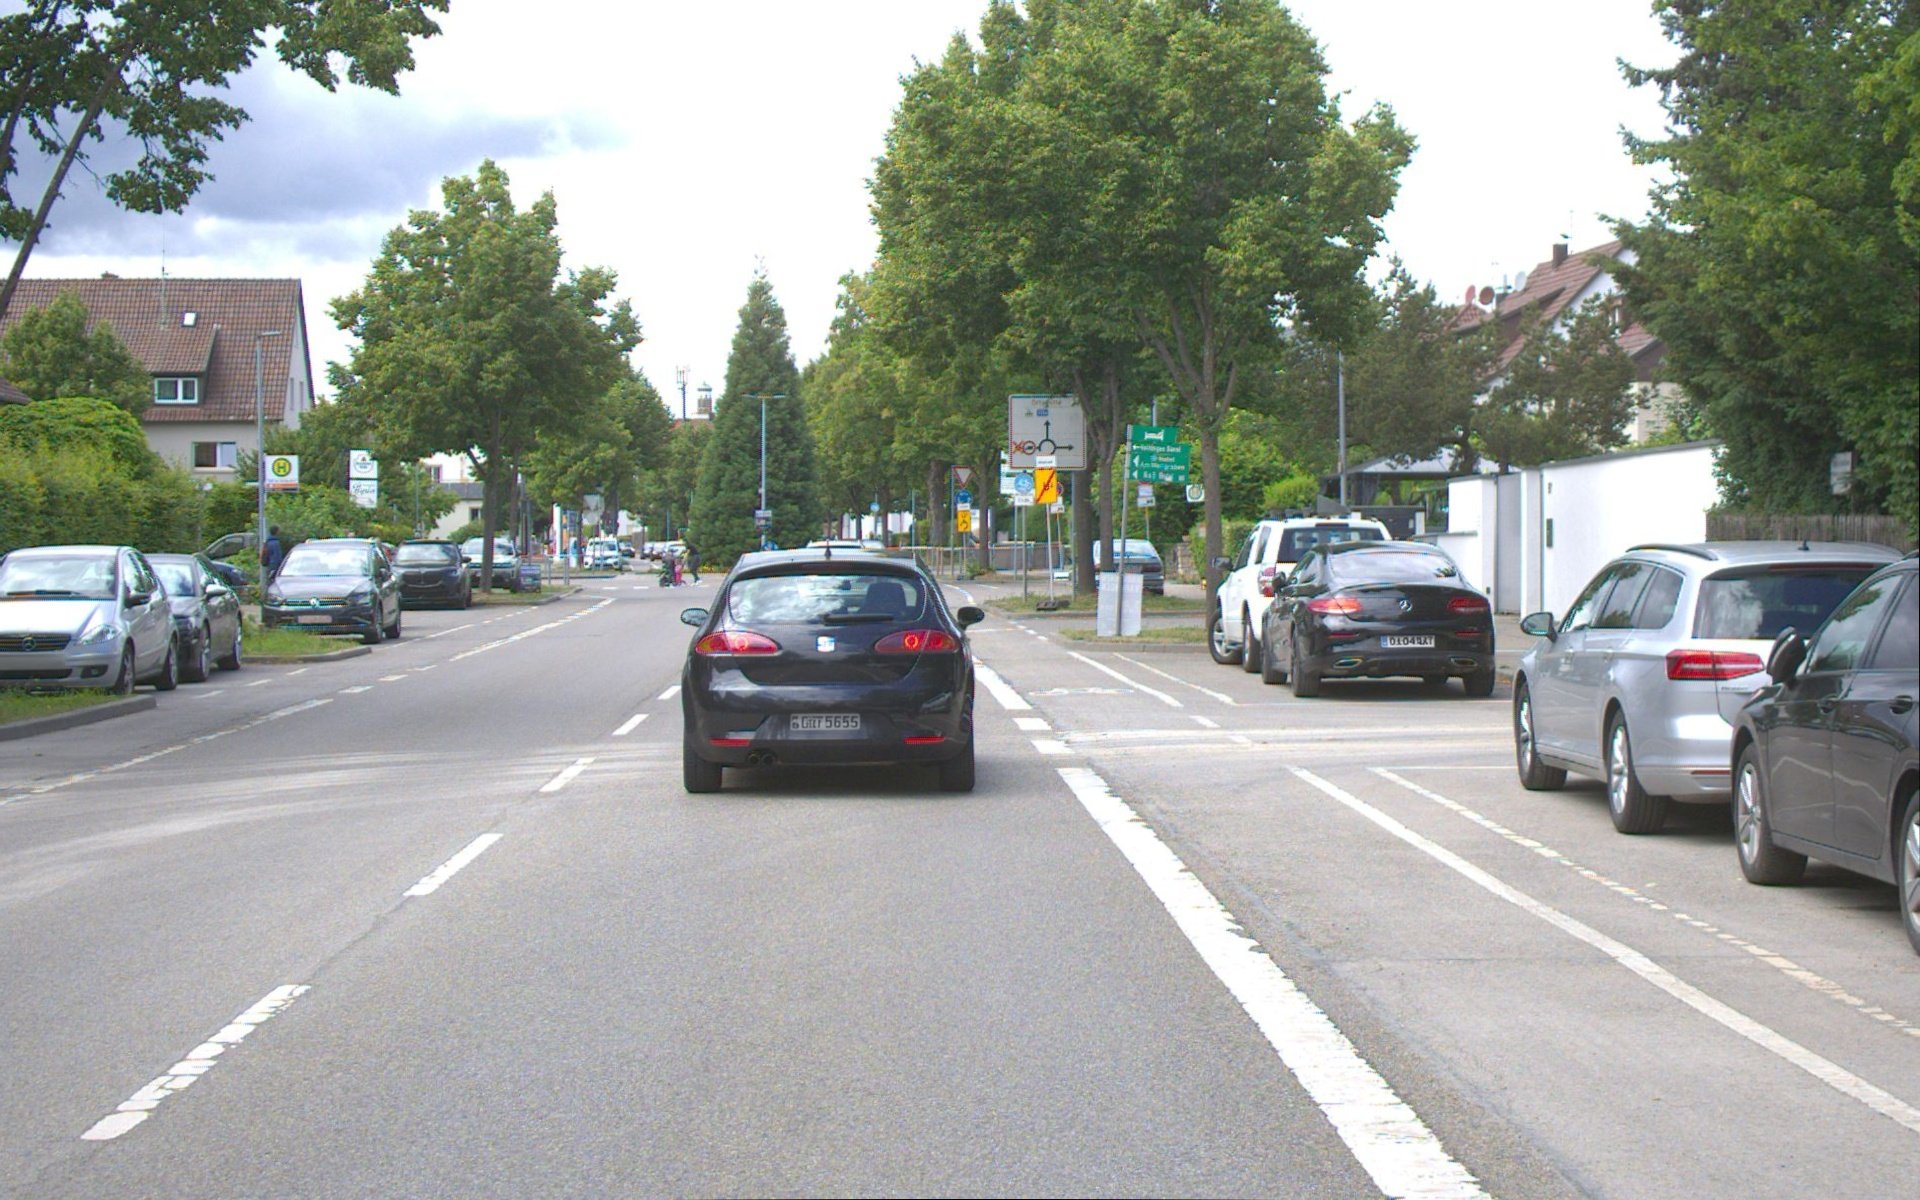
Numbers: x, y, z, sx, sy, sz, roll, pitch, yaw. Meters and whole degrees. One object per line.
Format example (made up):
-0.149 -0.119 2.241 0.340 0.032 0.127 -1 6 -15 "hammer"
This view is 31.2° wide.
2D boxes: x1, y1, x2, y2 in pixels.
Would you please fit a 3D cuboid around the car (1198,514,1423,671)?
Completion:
3.848 -0.104 38.363 1.900 1.637 4.117 -1 1 -3 "car"

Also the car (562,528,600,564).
-21.404 -3.076 194.308 2.029 1.964 4.001 -1 1 -5 "car"

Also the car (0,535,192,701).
-9.230 0.146 35.834 1.718 1.607 3.911 -1 1 -3 "car"

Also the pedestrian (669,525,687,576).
-9.340 -1.636 113.868 0.514 1.664 0.483 0 1 8 "pedestrian"

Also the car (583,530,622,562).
-18.349 -2.761 176.379 1.797 1.596 4.001 -1 1 -4 "car"

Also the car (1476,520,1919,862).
4.160 0.409 18.686 1.861 1.605 4.687 1 1 -1 "car"

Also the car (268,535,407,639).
-9.729 -0.242 53.950 1.677 1.546 4.273 -1 1 -4 "car"

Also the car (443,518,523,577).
-13.672 -1.515 98.726 1.860 1.648 4.295 0 1 -2 "car"

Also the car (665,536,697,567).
-14.952 -2.629 184.284 1.568 1.628 3.622 -1 1 -2 "car"

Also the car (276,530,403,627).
-10.991 -0.417 61.128 1.820 1.628 4.587 -1 1 -5 "car"

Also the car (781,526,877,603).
-2.772 -0.773 73.541 1.993 1.607 4.000 0 1 -2 "car"

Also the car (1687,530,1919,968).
4.201 0.506 13.421 1.702 1.505 4.538 1 2 -1 "car"

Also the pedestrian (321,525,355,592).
-15.655 -1.049 86.537 0.786 1.658 0.882 -1 1 -9 "pedestrian"

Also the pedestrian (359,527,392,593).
-14.693 -1.008 86.426 0.786 1.658 0.754 0 1 -9 "pedestrian"

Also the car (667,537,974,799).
-0.795 0.350 21.528 1.732 1.481 4.000 0 1 0 "car"

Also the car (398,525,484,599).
-12.421 -0.936 82.446 1.724 1.719 4.566 0 1 -4 "car"

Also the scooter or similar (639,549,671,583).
-10.099 -1.132 113.925 0.967 1.092 0.407 2 0 10 "scooter or similar"

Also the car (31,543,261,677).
-9.732 0.072 41.461 1.993 1.480 4.891 -1 1 -5 "car"

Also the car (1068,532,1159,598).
3.338 -0.749 75.256 1.611 1.372 4.387 -1 0 -2 "car"

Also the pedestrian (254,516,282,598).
-15.334 -0.963 76.164 0.503 1.800 0.671 -1 1 -3 "pedestrian"

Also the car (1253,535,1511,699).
3.888 0.104 32.383 1.863 1.412 4.603 0 1 0 "car"
